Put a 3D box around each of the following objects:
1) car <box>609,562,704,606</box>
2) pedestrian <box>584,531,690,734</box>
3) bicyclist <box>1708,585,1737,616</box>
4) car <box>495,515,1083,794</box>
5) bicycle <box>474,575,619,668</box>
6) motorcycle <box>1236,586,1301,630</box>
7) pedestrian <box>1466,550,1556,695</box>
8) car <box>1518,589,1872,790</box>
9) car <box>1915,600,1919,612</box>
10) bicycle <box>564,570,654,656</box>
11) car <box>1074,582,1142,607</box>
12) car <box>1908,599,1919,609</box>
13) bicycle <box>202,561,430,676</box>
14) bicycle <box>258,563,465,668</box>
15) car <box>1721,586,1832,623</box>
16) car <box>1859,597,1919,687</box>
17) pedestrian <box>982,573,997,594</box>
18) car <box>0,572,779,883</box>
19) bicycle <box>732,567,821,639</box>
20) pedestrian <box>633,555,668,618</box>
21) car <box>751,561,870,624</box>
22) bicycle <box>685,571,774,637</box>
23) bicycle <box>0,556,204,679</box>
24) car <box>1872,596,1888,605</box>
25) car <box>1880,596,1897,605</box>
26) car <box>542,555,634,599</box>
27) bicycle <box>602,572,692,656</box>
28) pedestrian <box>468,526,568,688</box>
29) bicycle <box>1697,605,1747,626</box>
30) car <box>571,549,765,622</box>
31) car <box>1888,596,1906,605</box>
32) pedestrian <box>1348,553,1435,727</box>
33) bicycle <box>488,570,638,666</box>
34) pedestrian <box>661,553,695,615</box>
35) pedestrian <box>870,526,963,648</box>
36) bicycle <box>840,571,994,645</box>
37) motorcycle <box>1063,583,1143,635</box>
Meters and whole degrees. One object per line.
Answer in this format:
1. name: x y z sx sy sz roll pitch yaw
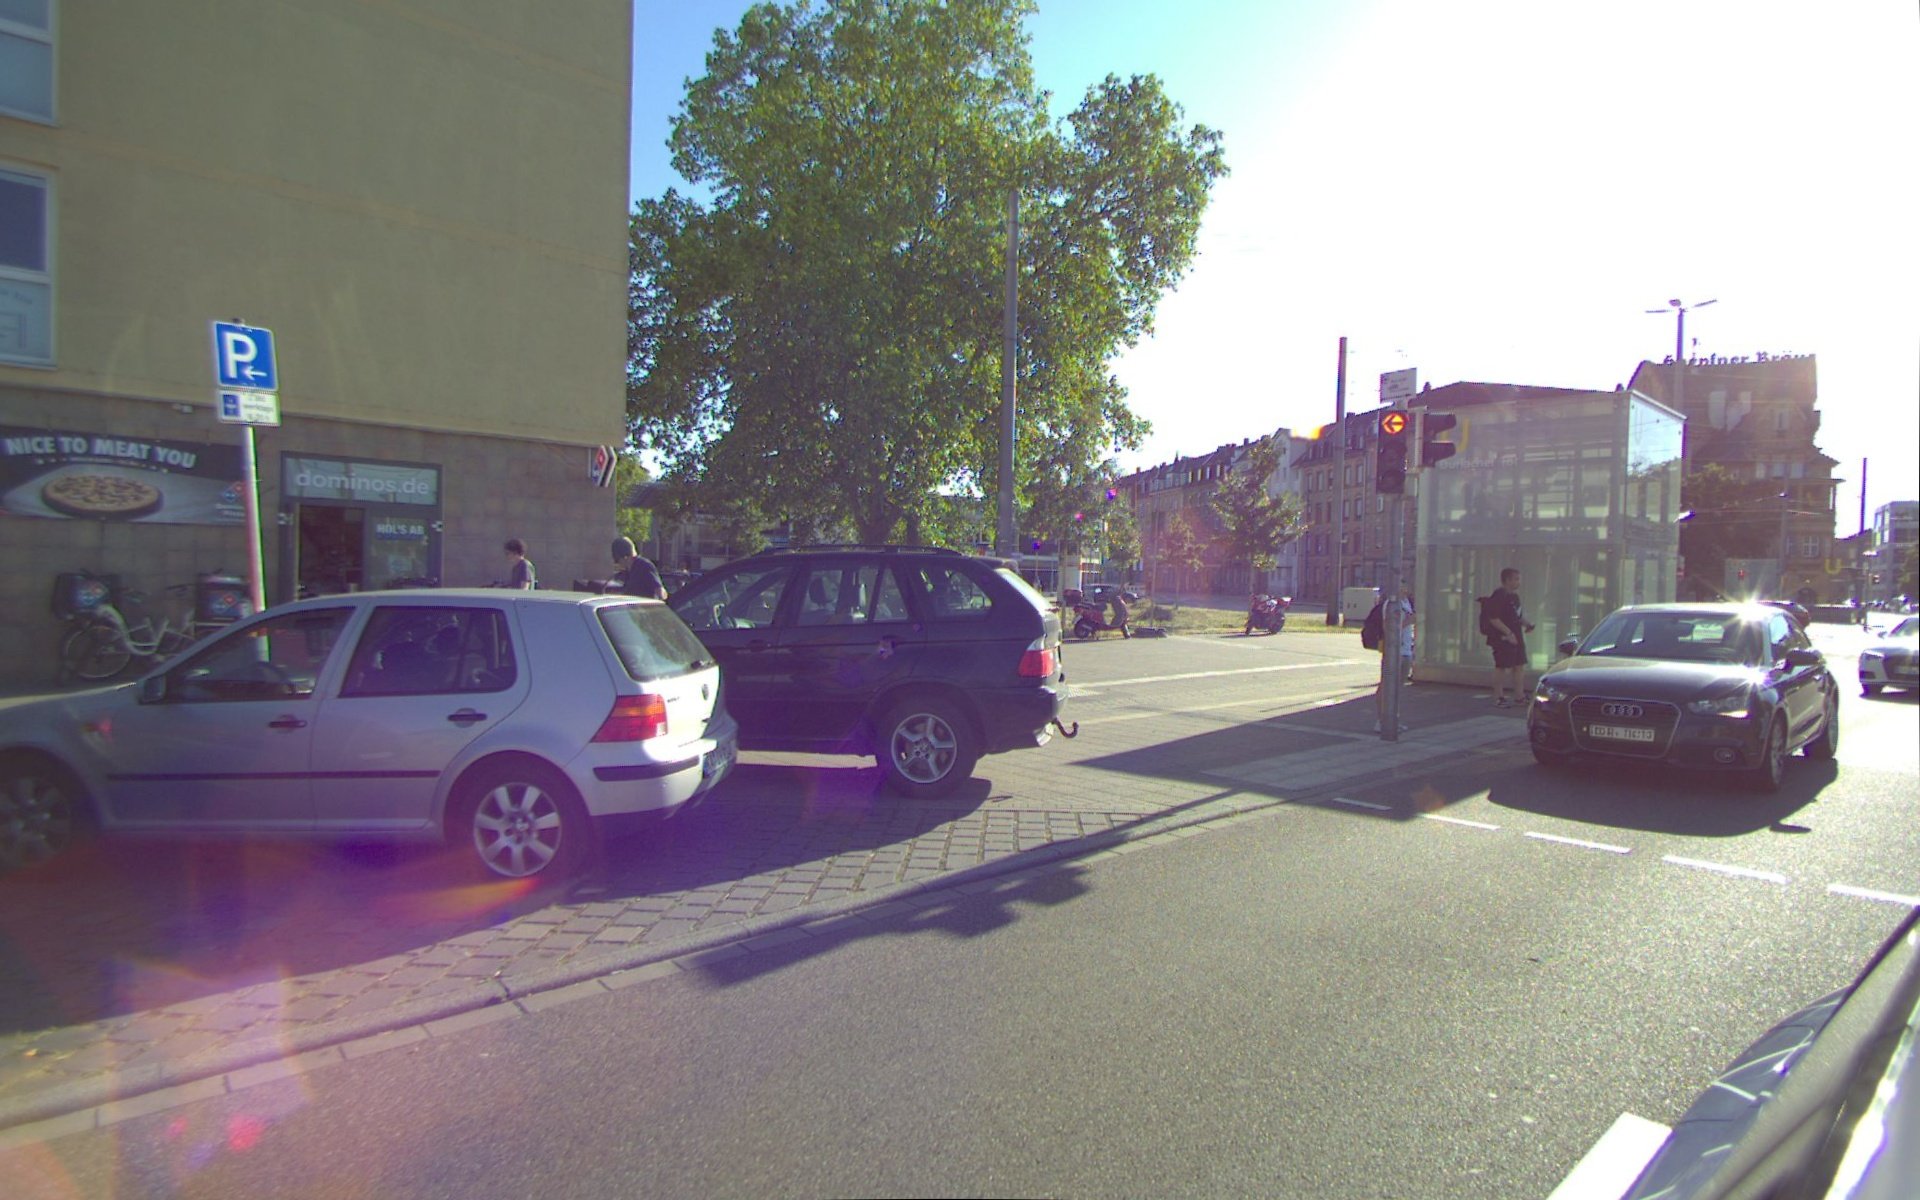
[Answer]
1. car: -14.710 -0.760 49.226 3.932 1.891 1.853 3 1 -43
2. pedestrian: -3.132 0.294 9.856 0.740 1.889 0.697 1 1 7
3. bicyclist: 42.961 0.032 57.006 0.752 1.716 0.977 2 1 -21
4. car: -1.148 0.333 7.950 4.180 1.837 1.956 0 0 8
5. bicycle: -6.092 0.283 14.966 1.869 1.264 0.658 -1 3 -45
6. motorcycle: 8.251 0.193 27.008 1.034 1.087 2.254 4 2 33
7. pedestrian: 6.937 0.256 12.781 0.784 1.749 0.865 2 1 17
8. car: 6.623 0.632 8.985 3.764 1.406 1.693 0 -1 -40
9. car: 145.203 0.947 152.199 1.746 1.626 3.966 2 0 36
10. bicycle: -5.773 0.179 16.581 0.649 1.264 1.896 0 3 -44
11. car: 9.902 -0.376 67.726 4.079 1.353 1.758 4 0 -20
12. car: 149.833 0.575 158.244 1.746 1.482 3.966 2 0 36
13. bicycle: -7.789 0.185 12.329 2.260 1.264 0.658 -1 3 -44
14. bicycle: -7.843 0.170 13.360 2.260 1.264 0.658 -1 3 -44
15. car: 41.013 0.168 50.946 1.720 1.481 4.030 -4 5 -19
16. car: 17.124 0.701 17.026 4.370 1.405 1.828 1 1 -32
17. pedestrian: 2.182 -1.217 74.508 0.709 1.534 0.832 1 1 -32
18. car: -3.128 0.589 5.697 3.824 1.417 1.786 0 0 5
19. bicycle: -3.870 0.036 21.222 1.993 1.362 0.803 4 3 44
20. pedestrian: -9.488 -0.418 31.026 0.739 1.889 0.831 0 1 -38
21. car: -4.727 -0.290 31.691 1.889 1.718 3.996 -3 5 -40
22. bicycle: -4.723 0.055 20.628 1.993 1.215 0.803 4 3 44
23. bicycle: -10.148 0.164 10.999 3.010 1.279 0.986 0 2 -43
24. car: 170.923 0.118 188.093 1.746 1.482 3.966 2 0 36
25. car: 164.659 0.129 179.552 1.746 1.482 3.966 2 0 36
26. car: -19.195 -1.174 52.316 3.932 2.024 1.853 3 0 -43
27. bicycle: -5.283 0.202 17.040 0.649 1.264 1.896 0 3 -44
28. pedestrian: -5.374 0.066 12.327 0.743 1.889 0.827 2 1 19
29. bicycle: 42.925 0.857 57.031 0.752 1.040 2.111 2 2 -21
30. car: -7.122 -0.320 24.920 4.157 1.501 1.852 3 1 -45
31. car: 161.763 0.076 174.672 1.746 1.482 3.966 2 0 36
32. pedestrian: 4.563 0.389 10.688 0.693 1.749 0.744 2 1 33
33. bicycle: -5.621 0.221 14.413 1.869 1.264 0.658 -1 3 -45
34. pedestrian: -8.776 -0.510 31.497 0.739 1.889 0.831 0 1 -38
35. pedestrian: -0.791 -0.237 18.039 1.244 2.039 1.036 4 0 -24
36. bicycle: -0.764 0.149 18.078 2.478 1.137 1.036 4 0 -24
37. motorcycle: 3.253 0.176 22.924 1.774 1.059 0.879 -2 4 -44
